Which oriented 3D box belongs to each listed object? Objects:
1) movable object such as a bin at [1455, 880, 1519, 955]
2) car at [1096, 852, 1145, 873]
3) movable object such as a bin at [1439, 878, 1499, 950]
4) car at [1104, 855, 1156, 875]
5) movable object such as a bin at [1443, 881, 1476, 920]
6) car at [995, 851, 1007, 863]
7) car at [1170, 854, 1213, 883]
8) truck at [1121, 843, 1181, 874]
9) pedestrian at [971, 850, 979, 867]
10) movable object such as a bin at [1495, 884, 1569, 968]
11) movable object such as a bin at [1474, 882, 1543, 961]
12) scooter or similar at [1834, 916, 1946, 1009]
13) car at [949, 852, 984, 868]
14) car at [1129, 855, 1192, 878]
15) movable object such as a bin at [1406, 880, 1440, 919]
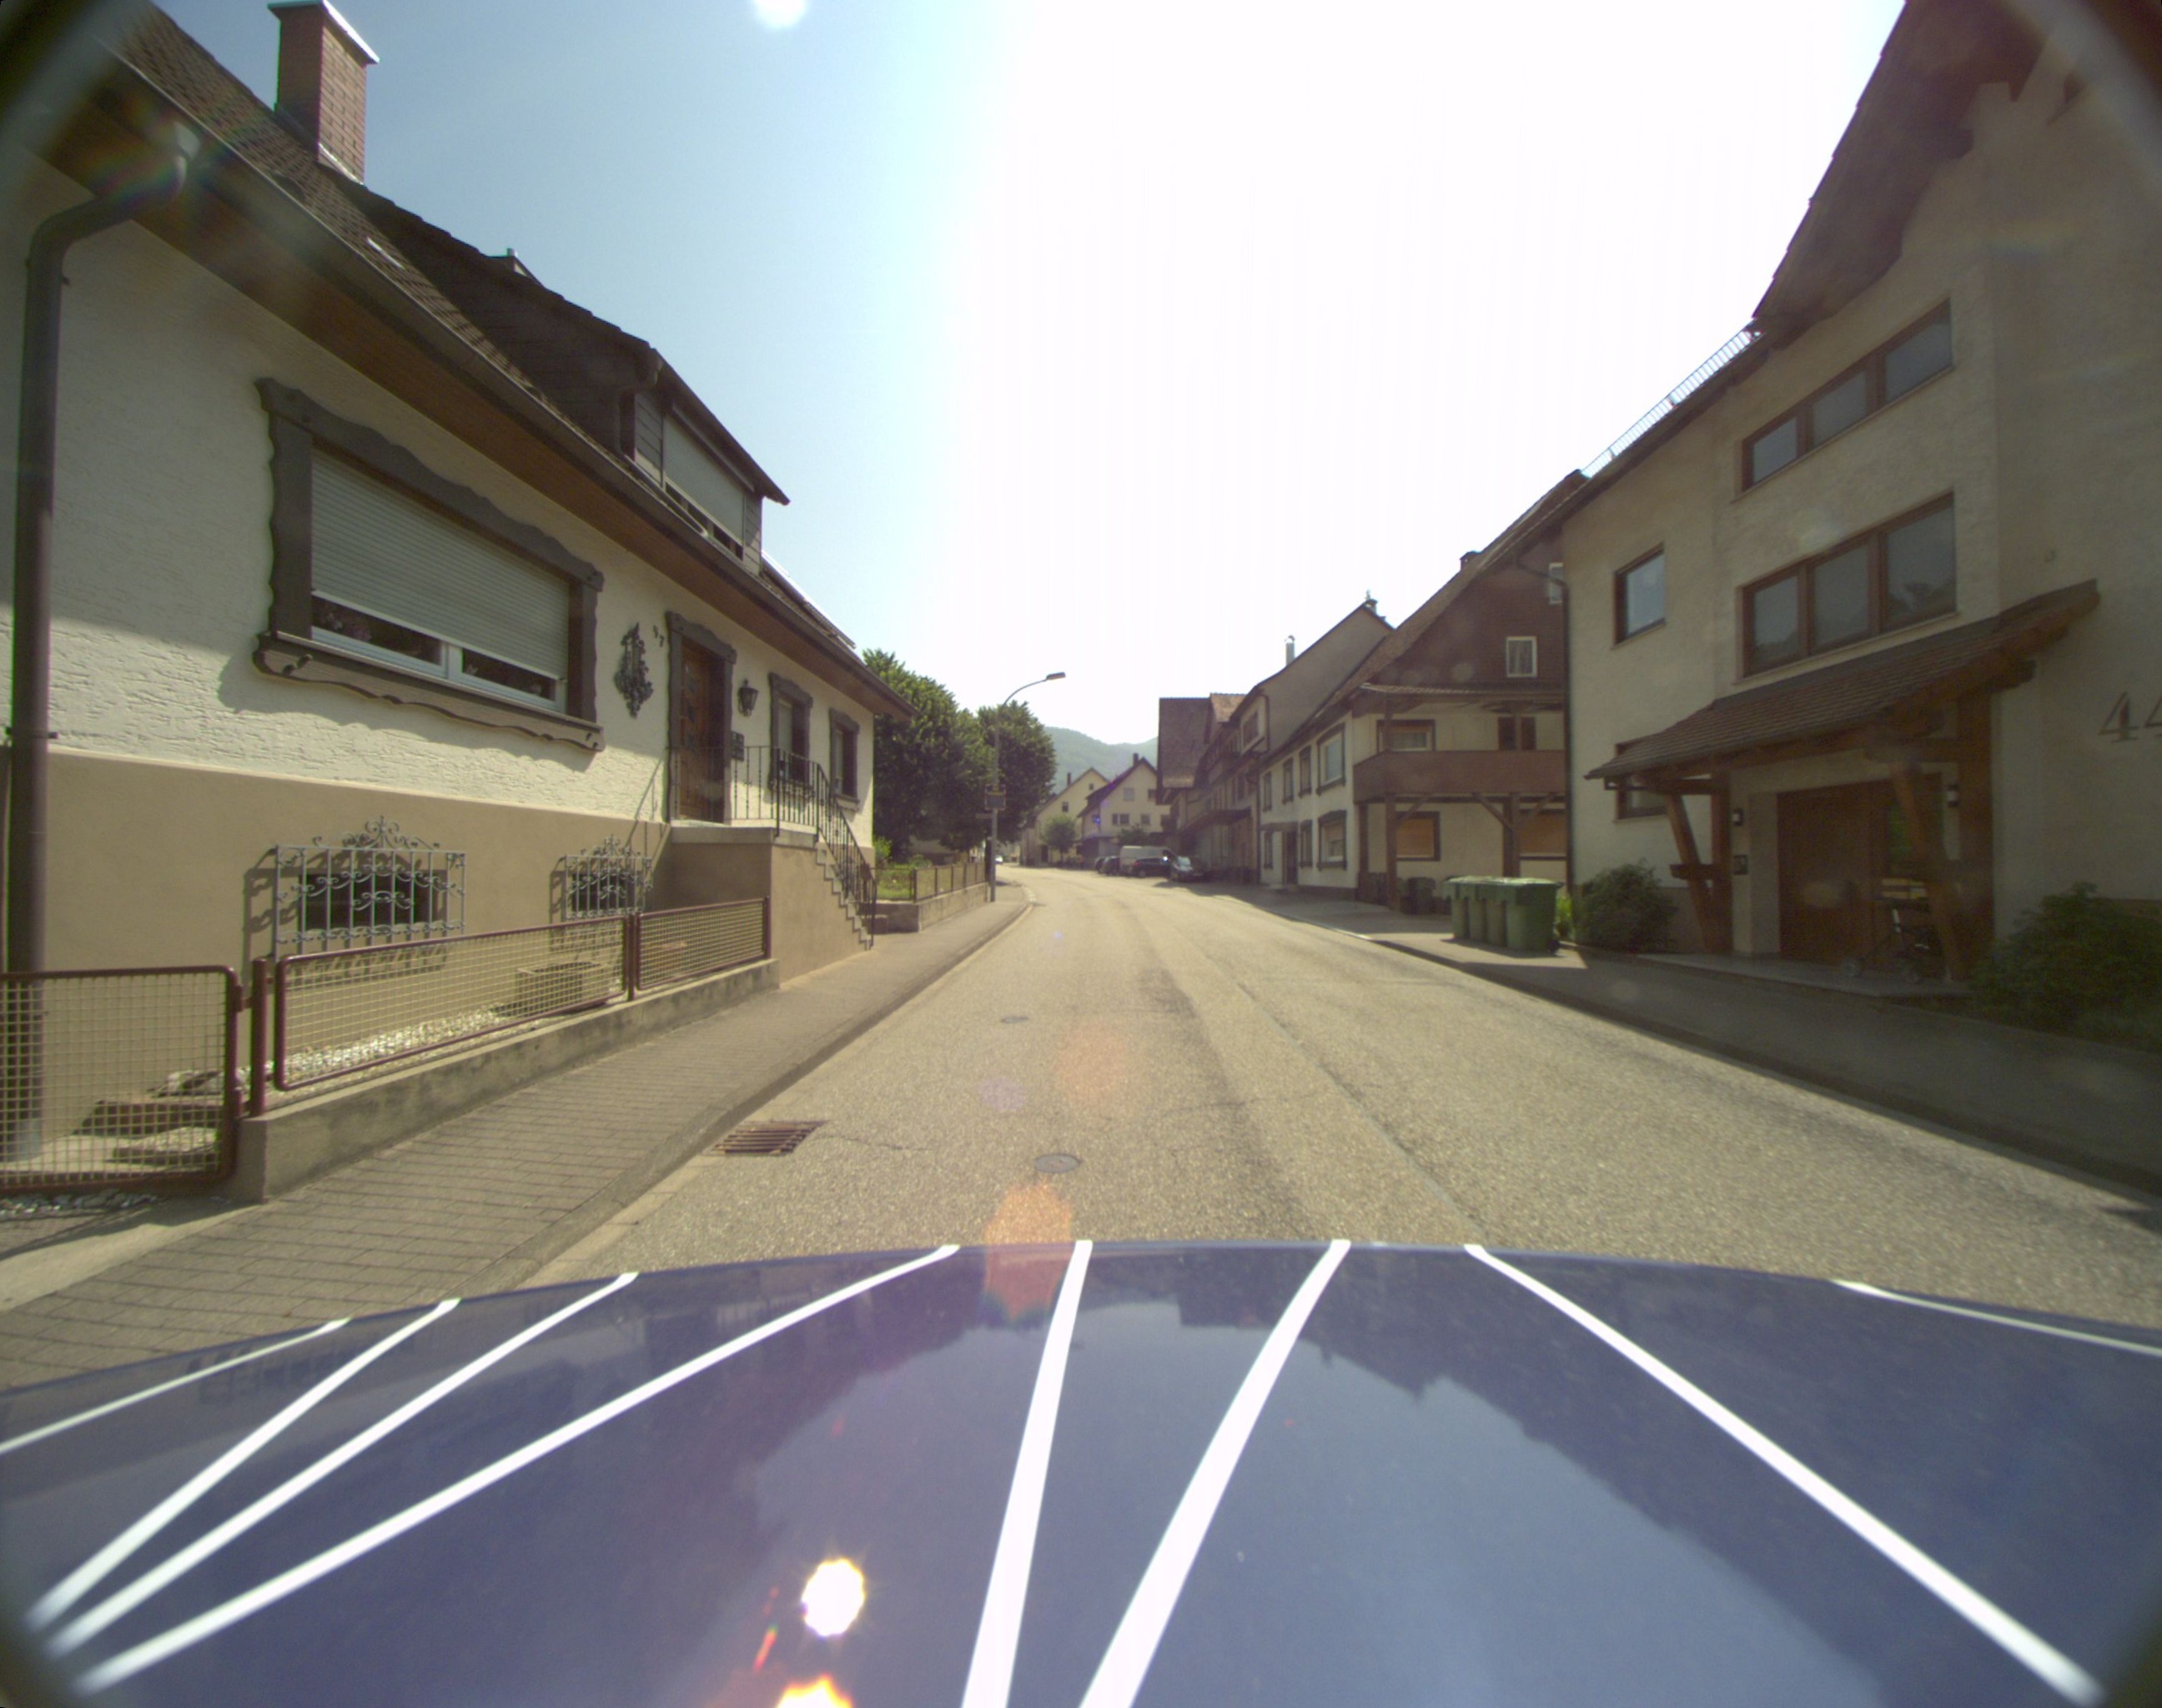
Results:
[{"bbox_3d":[6.736,1.042,12.634,0.719,1.174,0.598,2,0,2],"label":"movable object such as a bin"},{"bbox_3d":[3.278,0.699,63.667,3.996,1.563,1.577,2,0,3],"label":"car"},{"bbox_3d":[6.771,1.035,13.293,0.719,1.174,0.598,2,0,2],"label":"movable object such as a bin"},{"bbox_3d":[3.872,0.858,60.526,3.998,1.444,1.627,2,0,-3],"label":"car"},{"bbox_3d":[10.702,1.318,21.485,0.608,1.045,0.632,2,1,1],"label":"movable object such as a bin"},{"bbox_3d":[-14.940,0.548,142.421,1.999,2.002,3.997,-3,1,-5],"label":"car"},{"bbox_3d":[6.364,0.796,44.267,1.774,1.544,4.285,-1,0,-1],"label":"car"},{"bbox_3d":[5.149,0.334,56.553,4.177,2.253,1.999,-1,0,-4],"label":"truck"},{"bbox_3d":[-10.380,0.454,74.320,0.682,1.661,0.712,2,0,1],"label":"pedestrian"},{"bbox_3d":[6.708,1.056,11.325,0.719,1.174,0.598,2,0,2],"label":"movable object such as a bin"},{"bbox_3d":[6.730,1.049,11.982,0.719,1.174,0.598,2,0,2],"label":"movable object such as a bin"},{"bbox_3d":[7.776,1.030,7.324,0.507,0.821,0.537,0,0,1],"label":"scooter or similar"},{"bbox_3d":[-12.383,0.610,82.239,3.339,1.587,1.652,2,0,14],"label":"car"},{"bbox_3d":[5.352,0.816,51.537,4.105,1.494,1.753,0,0,-1],"label":"car"},{"bbox_3d":[9.676,1.281,21.510,0.623,1.045,0.696,2,1,1],"label":"movable object such as a bin"}]
